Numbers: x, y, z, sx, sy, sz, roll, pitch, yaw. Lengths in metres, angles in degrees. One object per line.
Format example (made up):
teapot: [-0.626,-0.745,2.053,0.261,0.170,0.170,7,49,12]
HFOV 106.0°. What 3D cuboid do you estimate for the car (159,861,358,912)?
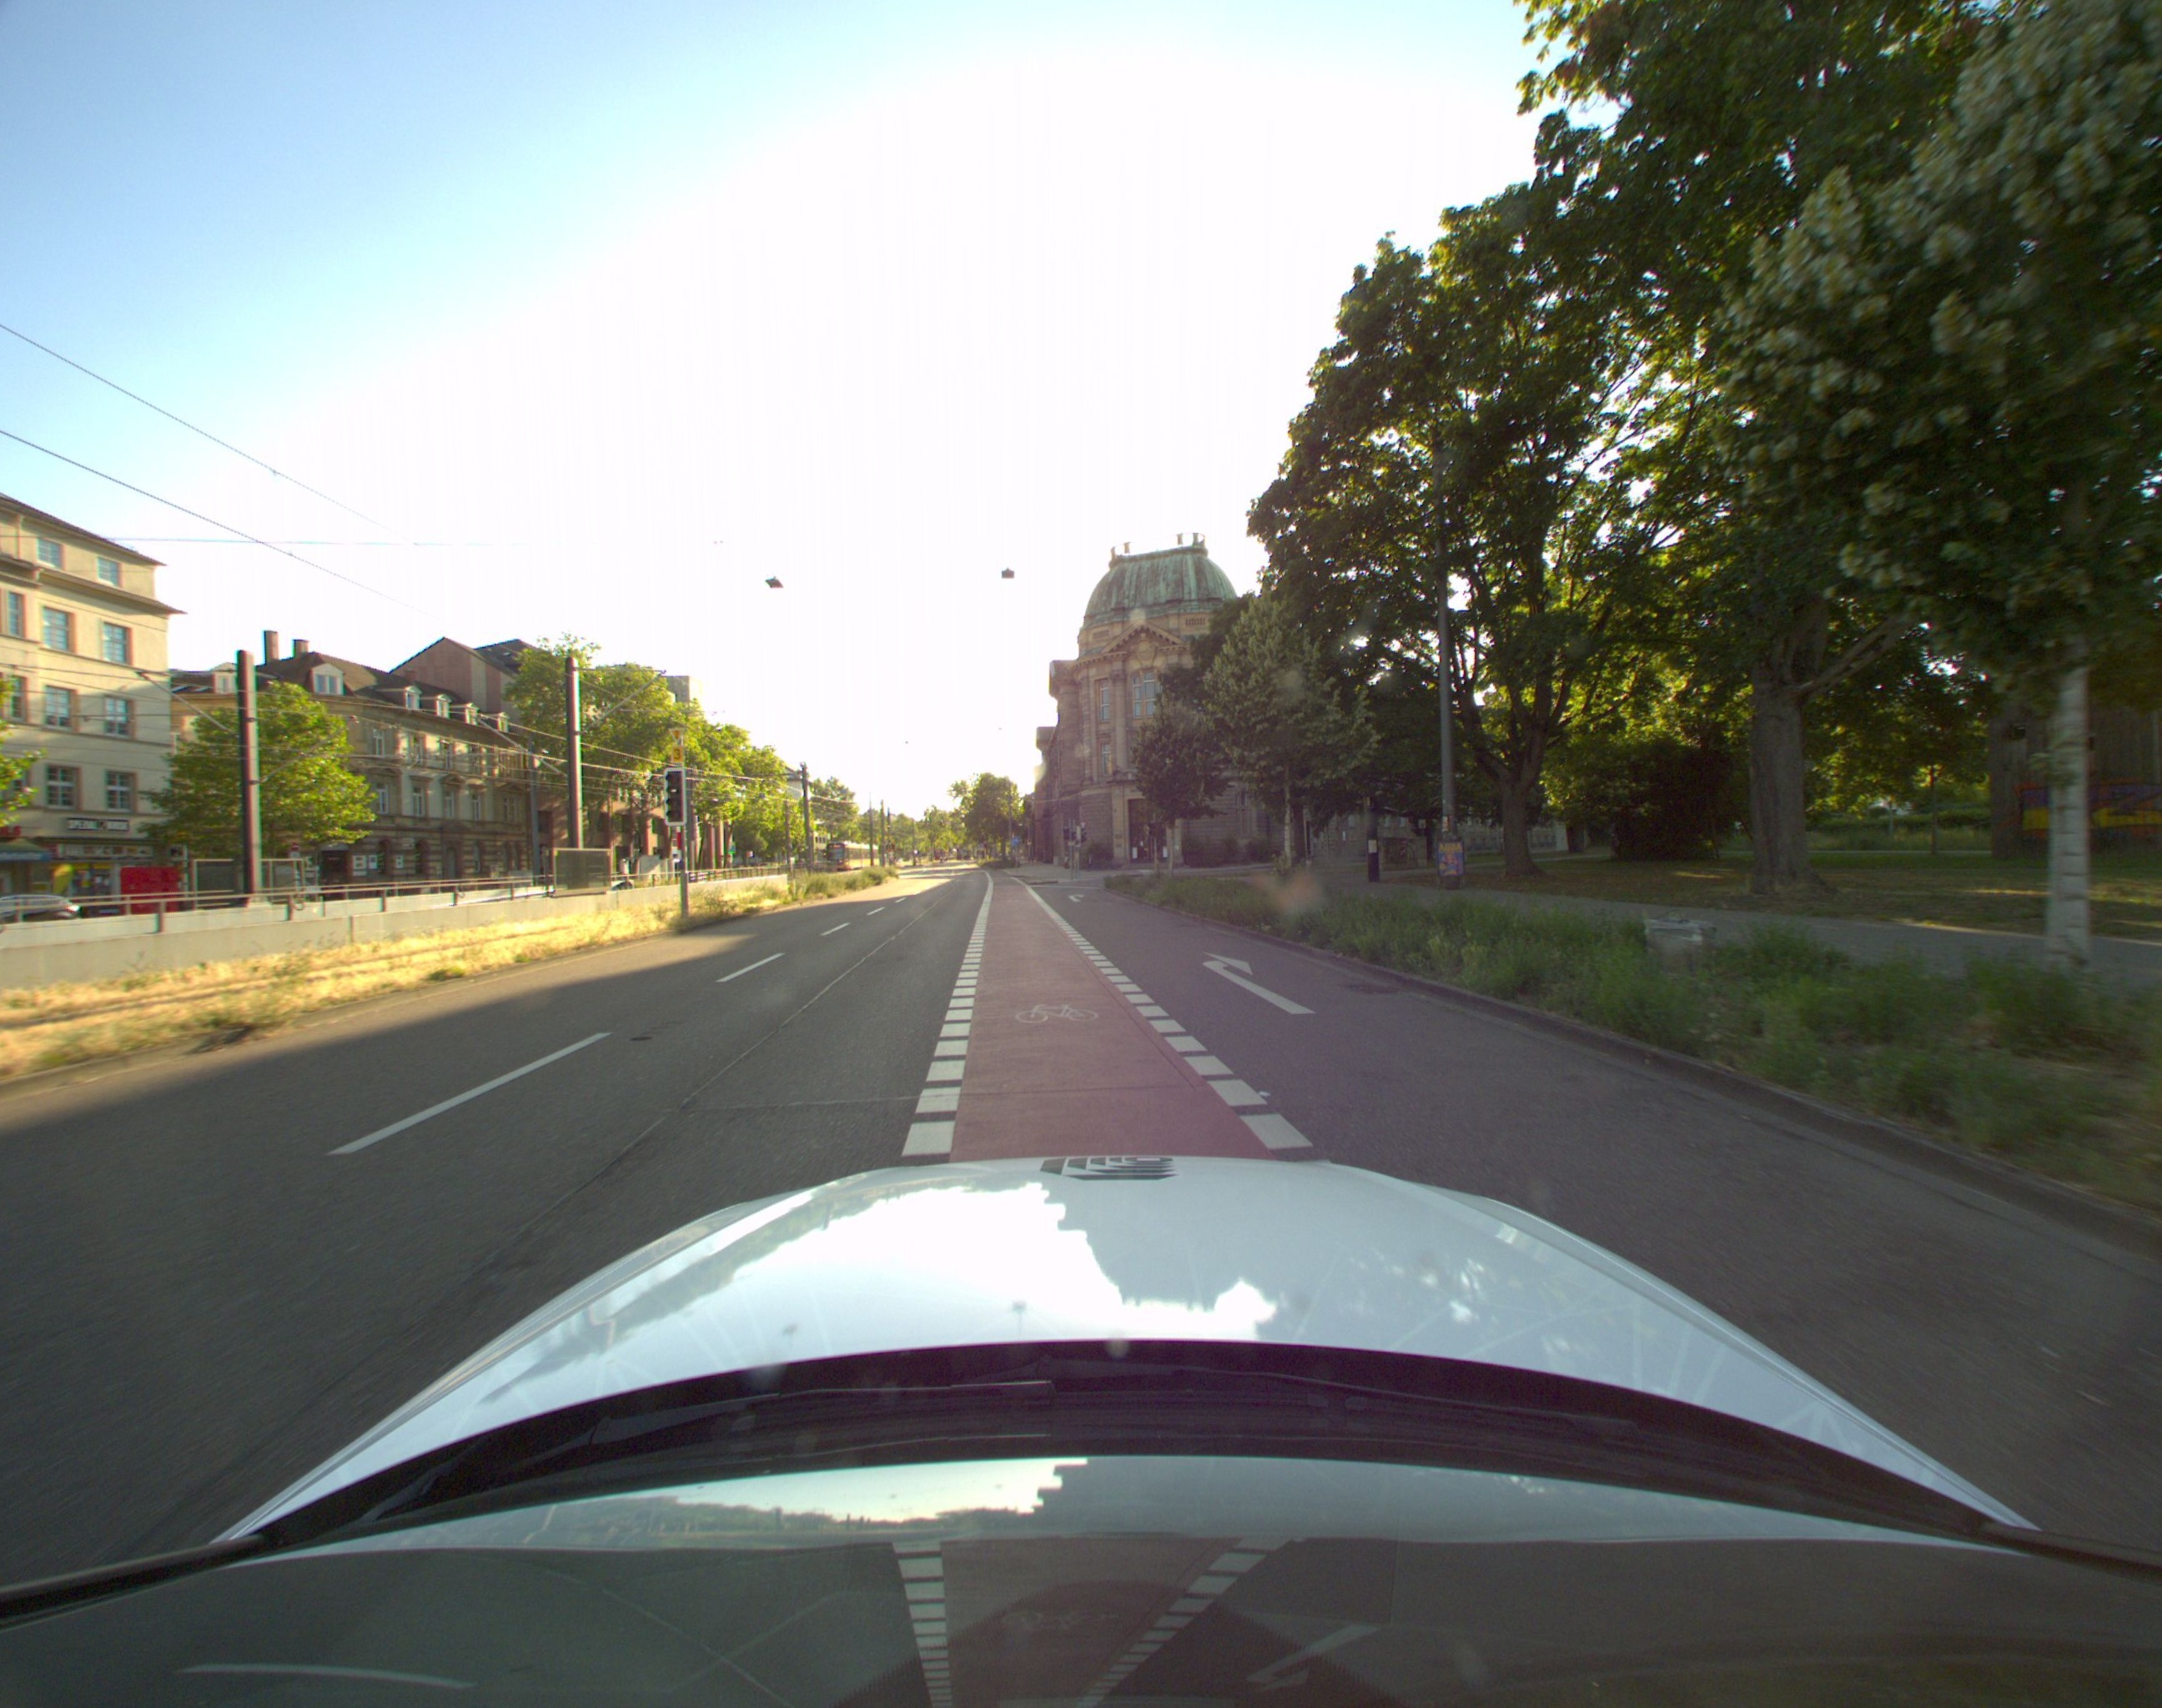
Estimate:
car: [-43.688,1.672,43.489,7.270,2.266,2.461,-2,0,-11]

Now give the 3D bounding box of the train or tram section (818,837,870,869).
train or tram section: [-29.356,-0.066,101.811,3.108,3.559,17.439,-2,0,-6]

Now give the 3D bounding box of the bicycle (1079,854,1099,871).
bicycle: [0.626,0.647,63.057,0.860,1.196,2.249,-2,0,17]

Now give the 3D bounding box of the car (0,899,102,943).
car: [-36.615,2.304,28.053,1.451,1.332,3.704,0,-1,-4]

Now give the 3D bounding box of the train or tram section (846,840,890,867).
train or tram section: [-31.243,0.000,120.417,3.108,3.559,19.892,-2,0,-6]

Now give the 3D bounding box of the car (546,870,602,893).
car: [-40.266,2.178,64.787,1.757,1.585,4.726,-2,0,-5]
